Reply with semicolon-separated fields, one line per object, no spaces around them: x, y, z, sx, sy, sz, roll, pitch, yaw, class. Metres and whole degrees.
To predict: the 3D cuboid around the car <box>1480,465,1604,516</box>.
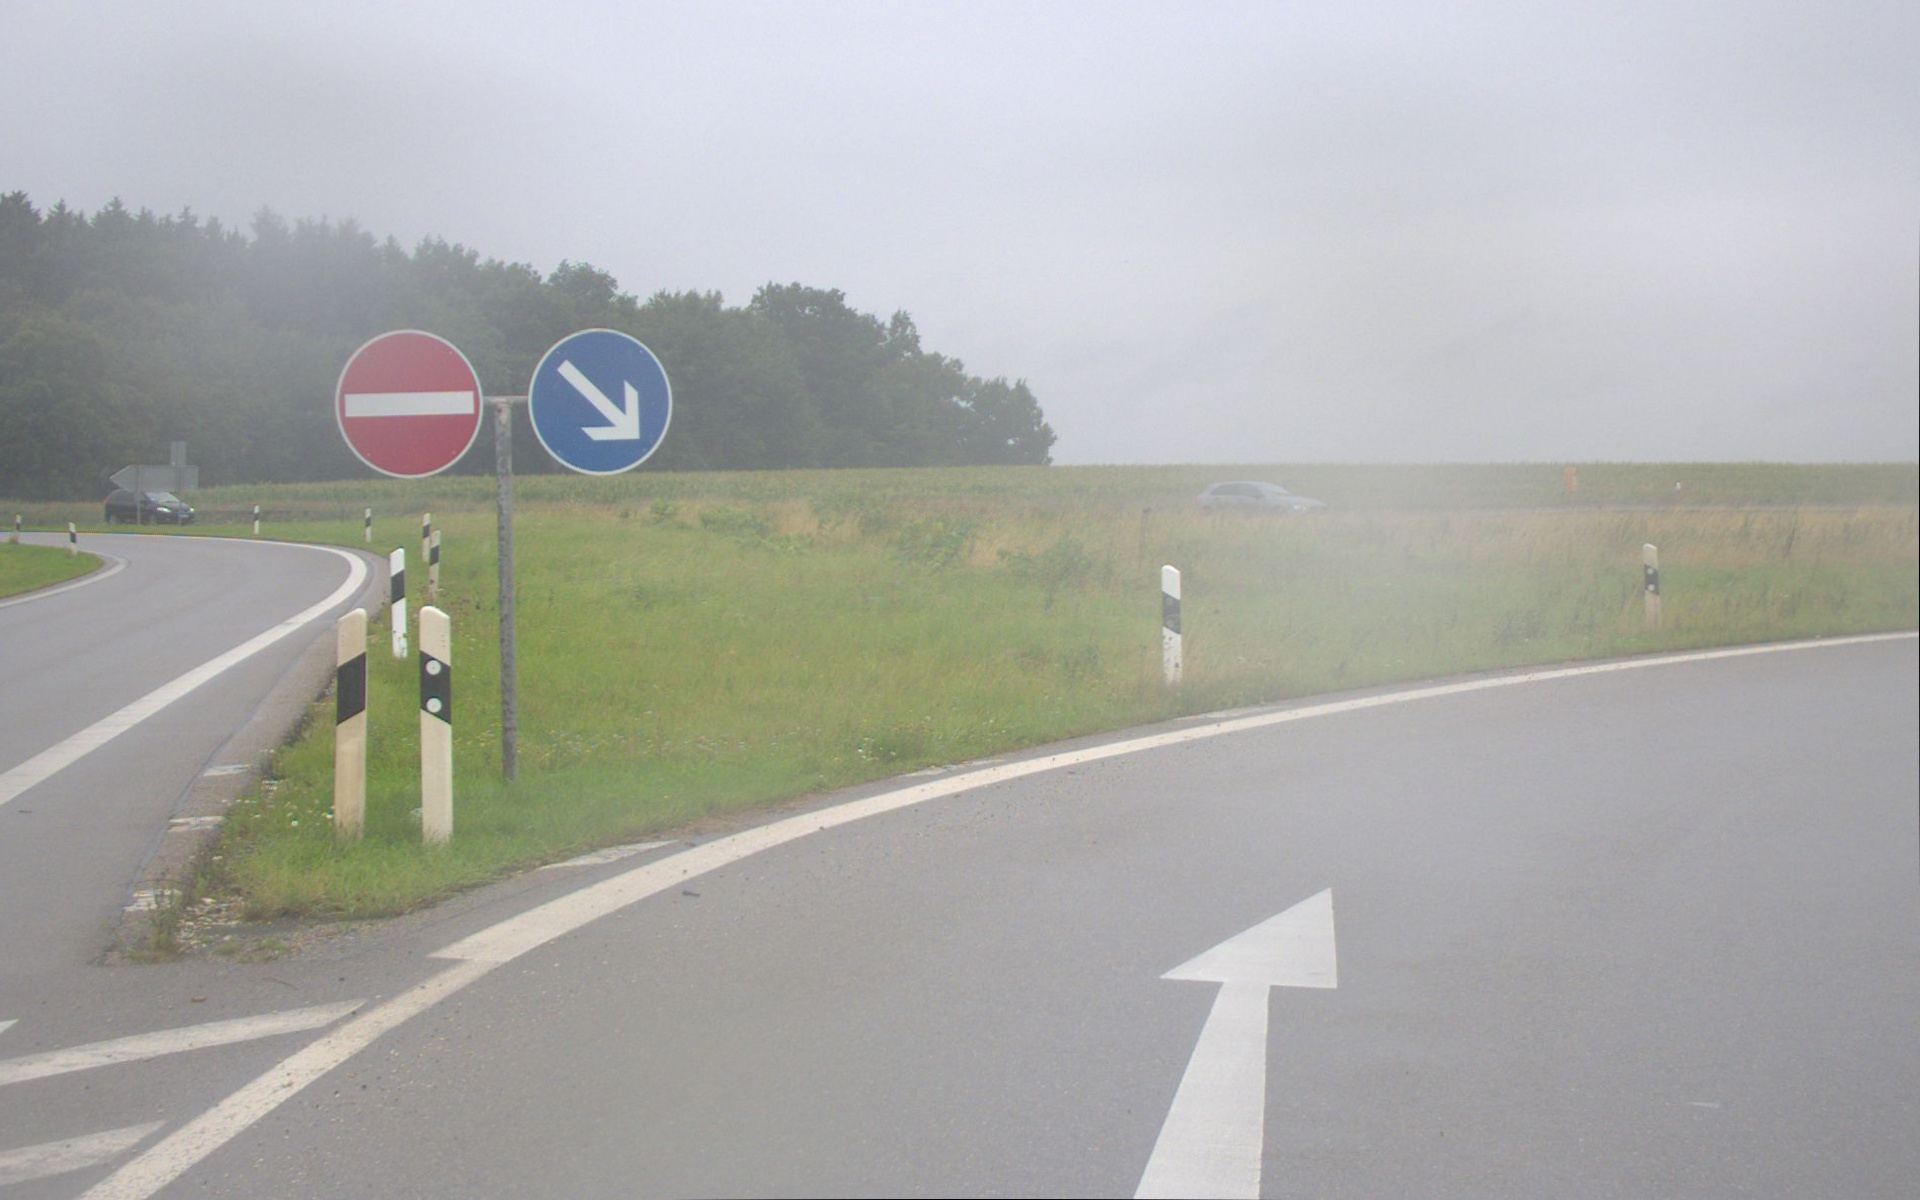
20.609;-3.880;121.802;3.996;1.730;1.731;1;3;40;car
